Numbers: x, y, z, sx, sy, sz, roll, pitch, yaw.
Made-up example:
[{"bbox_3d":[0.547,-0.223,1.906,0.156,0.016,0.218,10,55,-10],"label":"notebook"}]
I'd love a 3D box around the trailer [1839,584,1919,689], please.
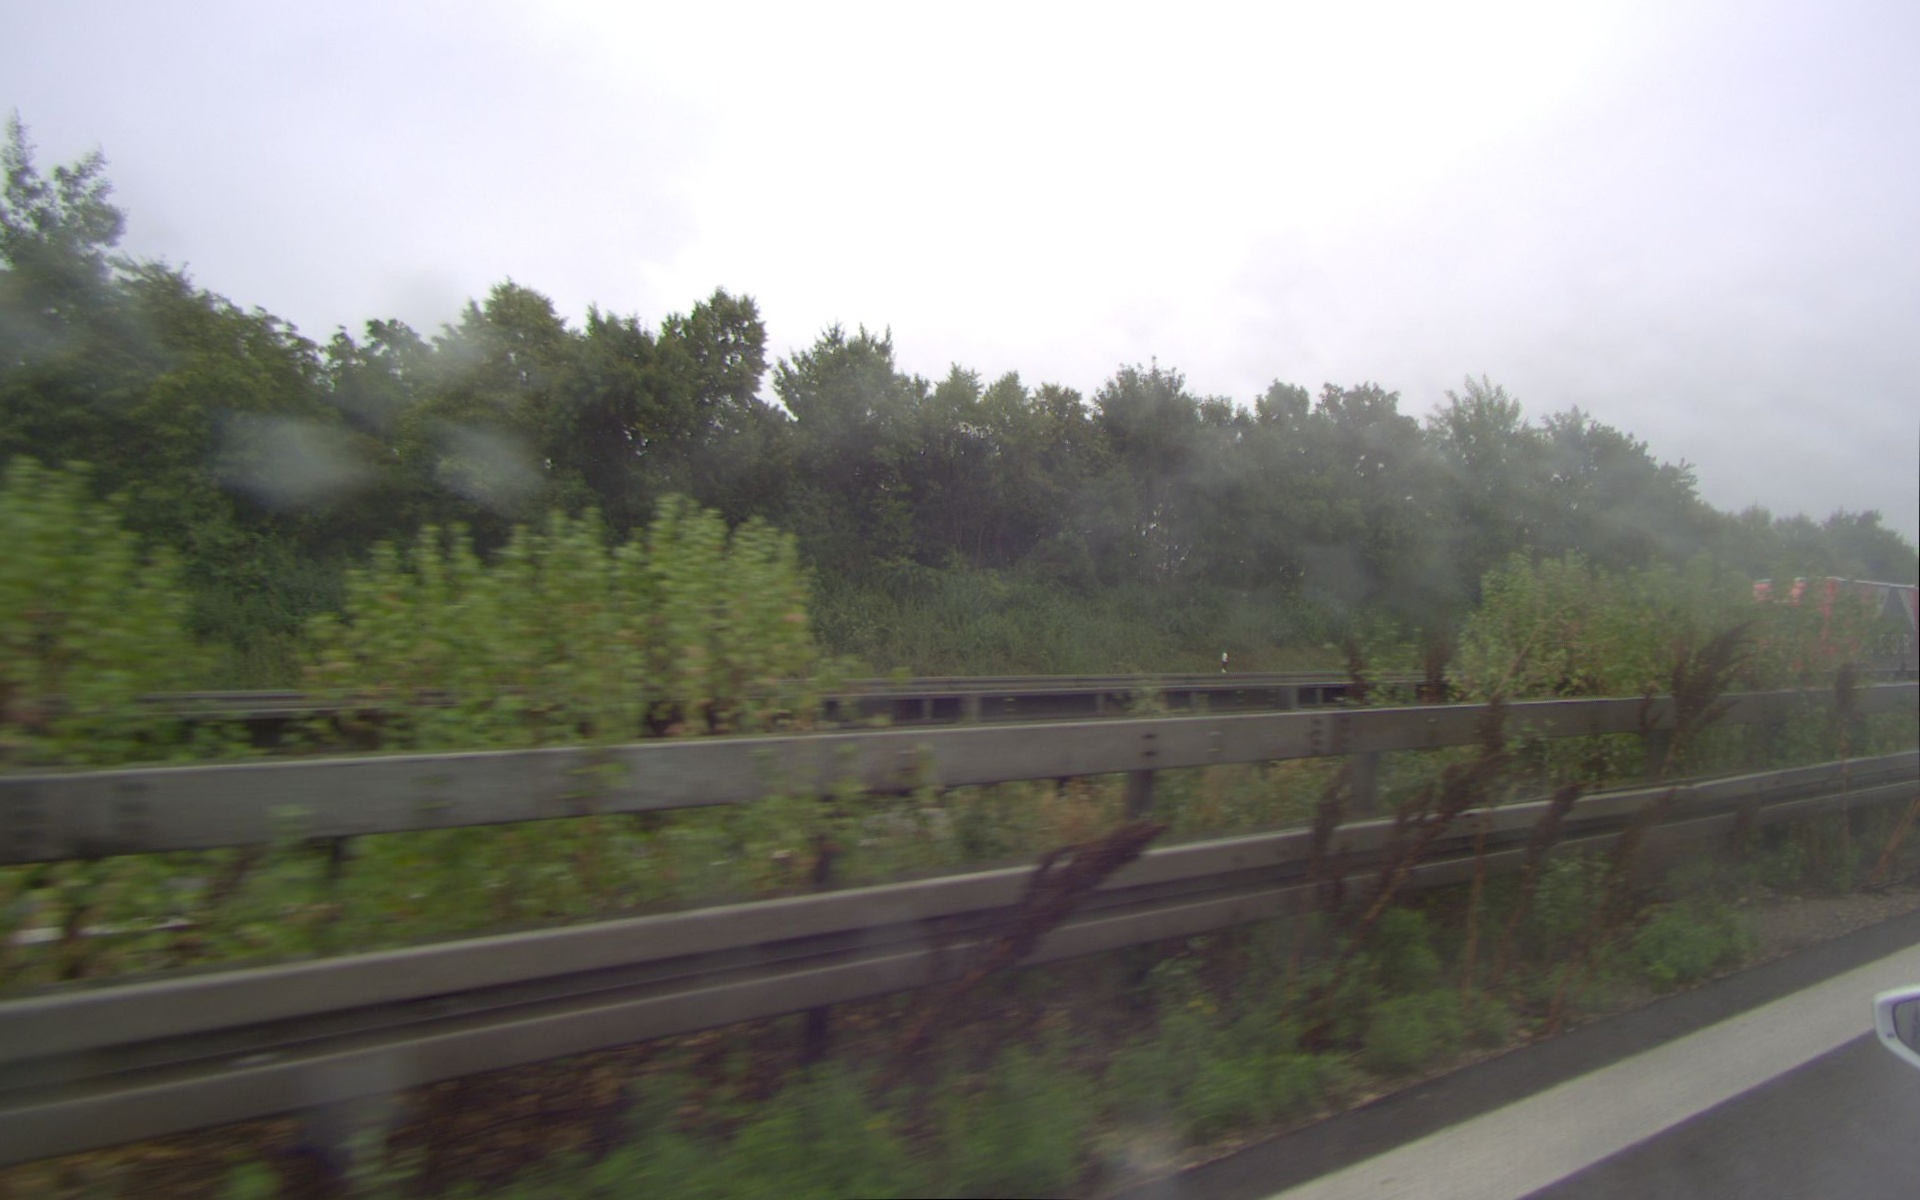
[{"bbox_3d":[42.203,1.605,44.321,8.392,4.287,2.684,2,0,-31],"label":"trailer"}]

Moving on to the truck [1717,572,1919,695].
[{"bbox_3d":[33.784,1.307,39.228,11.223,4.287,2.684,2,-1,-31],"label":"truck"}]
